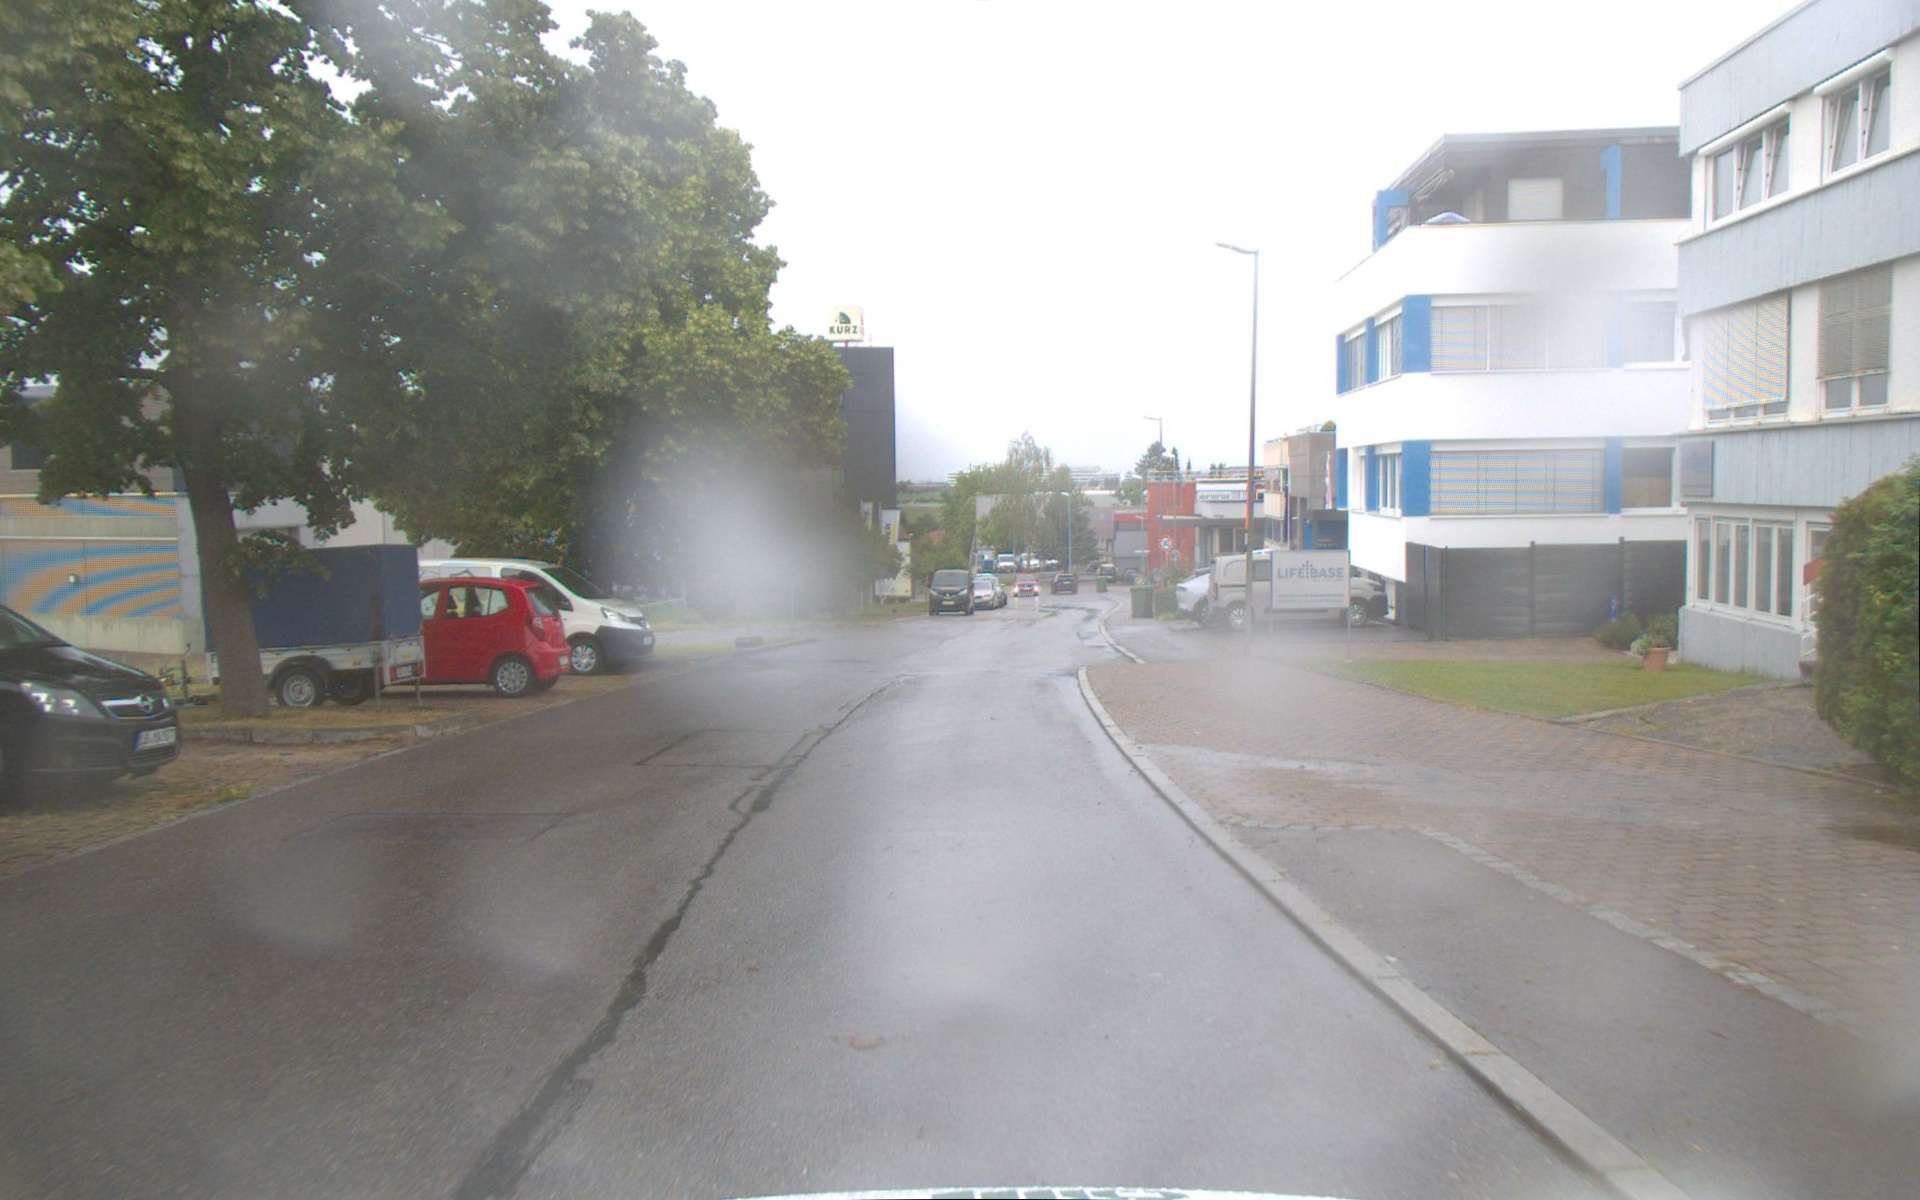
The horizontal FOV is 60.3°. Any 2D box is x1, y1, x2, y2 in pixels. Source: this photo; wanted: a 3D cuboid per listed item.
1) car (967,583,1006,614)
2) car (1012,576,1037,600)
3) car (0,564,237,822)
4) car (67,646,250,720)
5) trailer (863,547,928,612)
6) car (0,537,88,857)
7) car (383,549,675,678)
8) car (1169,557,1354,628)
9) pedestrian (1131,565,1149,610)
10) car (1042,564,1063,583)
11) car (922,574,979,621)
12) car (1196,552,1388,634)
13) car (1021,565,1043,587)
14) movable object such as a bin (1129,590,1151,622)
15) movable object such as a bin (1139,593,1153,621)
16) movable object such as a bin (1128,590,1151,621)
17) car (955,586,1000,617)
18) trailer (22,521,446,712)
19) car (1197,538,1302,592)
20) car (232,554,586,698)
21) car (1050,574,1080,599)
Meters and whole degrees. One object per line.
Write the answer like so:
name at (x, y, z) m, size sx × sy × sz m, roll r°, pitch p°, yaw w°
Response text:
car at (1.476, -0.087, 90.385) m, size 1.916 × 1.604 × 4.842 m, roll -2°, pitch 0°, yaw 3°
car at (4.657, -0.864, 119.576) m, size 1.711 × 1.534 × 3.936 m, roll -4°, pitch -1°, yaw 1°
car at (-7.658, 0.562, 11.412) m, size 4.522 × 1.617 × 1.806 m, roll 1°, pitch 0°, yaw 2°
car at (-18.702, 1.914, 38.756) m, size 1.527 × 1.472 × 3.703 m, roll -1°, pitch 1°, yaw 26°
trailer at (-4.405, -1.405, 112.735) m, size 4.113 × 4.276 × 1.994 m, roll -2°, pitch 0°, yaw 43°
car at (-7.256, 0.505, 8.946) m, size 3.988 × 1.752 × 2.026 m, roll 1°, pitch 0°, yaw 3°
car at (-7.019, 0.216, 27.161) m, size 4.208 × 1.939 × 1.863 m, roll -1°, pitch 0°, yaw 7°
car at (7.785, -0.197, 43.090) m, size 4.500 × 1.565 × 2.080 m, roll -3°, pitch 0°, yaw 4°
pedestrian at (7.332, -0.506, 67.323) m, size 0.721 × 1.798 × 0.809 m, roll -1°, pitch 0°, yaw 6°
car at (10.965, -3.136, 197.097) m, size 2.102 × 2.049 × 3.938 m, roll -1°, pitch 0°, yaw -2°
car at (-0.339, -0.106, 69.428) m, size 1.875 × 1.863 × 4.851 m, roll -1°, pitch 0°, yaw 6°
car at (7.960, -0.171, 39.980) m, size 4.250 × 1.804 × 2.090 m, roll -2°, pitch 0°, yaw 3°
car at (8.533, -2.788, 196.266) m, size 2.149 × 2.502 × 3.997 m, roll -1°, pitch 0°, yaw -4°
movable object such as a bin at (6.299, 0.196, 57.822) m, size 0.727 × 1.085 × 0.637 m, roll -1°, pitch 0°, yaw 6°
movable object such as a bin at (6.604, 0.259, 58.669) m, size 0.462 × 0.984 × 0.515 m, roll -1°, pitch 0°, yaw 6°
movable object such as a bin at (6.191, 0.195, 57.094) m, size 0.755 × 1.048 × 0.809 m, roll -1°, pitch 0°, yaw 6°
car at (0.931, 0.061, 84.026) m, size 1.915 × 1.486 × 5.251 m, roll -1°, pitch 0°, yaw 4°
trailer at (-8.358, 0.188, 19.281) m, size 4.125 × 2.019 × 1.774 m, roll -1°, pitch 0°, yaw 2°
car at (15.639, -1.869, 89.616) m, size 5.192 × 2.046 × 2.223 m, roll -9°, pitch -1°, yaw 4°
car at (-7.267, 0.333, 22.111) m, size 4.111 × 1.752 × 1.755 m, roll -1°, pitch 0°, yaw -1°
car at (7.699, -1.007, 121.650) m, size 1.915 × 1.705 × 4.473 m, roll -1°, pitch -1°, yaw 1°
